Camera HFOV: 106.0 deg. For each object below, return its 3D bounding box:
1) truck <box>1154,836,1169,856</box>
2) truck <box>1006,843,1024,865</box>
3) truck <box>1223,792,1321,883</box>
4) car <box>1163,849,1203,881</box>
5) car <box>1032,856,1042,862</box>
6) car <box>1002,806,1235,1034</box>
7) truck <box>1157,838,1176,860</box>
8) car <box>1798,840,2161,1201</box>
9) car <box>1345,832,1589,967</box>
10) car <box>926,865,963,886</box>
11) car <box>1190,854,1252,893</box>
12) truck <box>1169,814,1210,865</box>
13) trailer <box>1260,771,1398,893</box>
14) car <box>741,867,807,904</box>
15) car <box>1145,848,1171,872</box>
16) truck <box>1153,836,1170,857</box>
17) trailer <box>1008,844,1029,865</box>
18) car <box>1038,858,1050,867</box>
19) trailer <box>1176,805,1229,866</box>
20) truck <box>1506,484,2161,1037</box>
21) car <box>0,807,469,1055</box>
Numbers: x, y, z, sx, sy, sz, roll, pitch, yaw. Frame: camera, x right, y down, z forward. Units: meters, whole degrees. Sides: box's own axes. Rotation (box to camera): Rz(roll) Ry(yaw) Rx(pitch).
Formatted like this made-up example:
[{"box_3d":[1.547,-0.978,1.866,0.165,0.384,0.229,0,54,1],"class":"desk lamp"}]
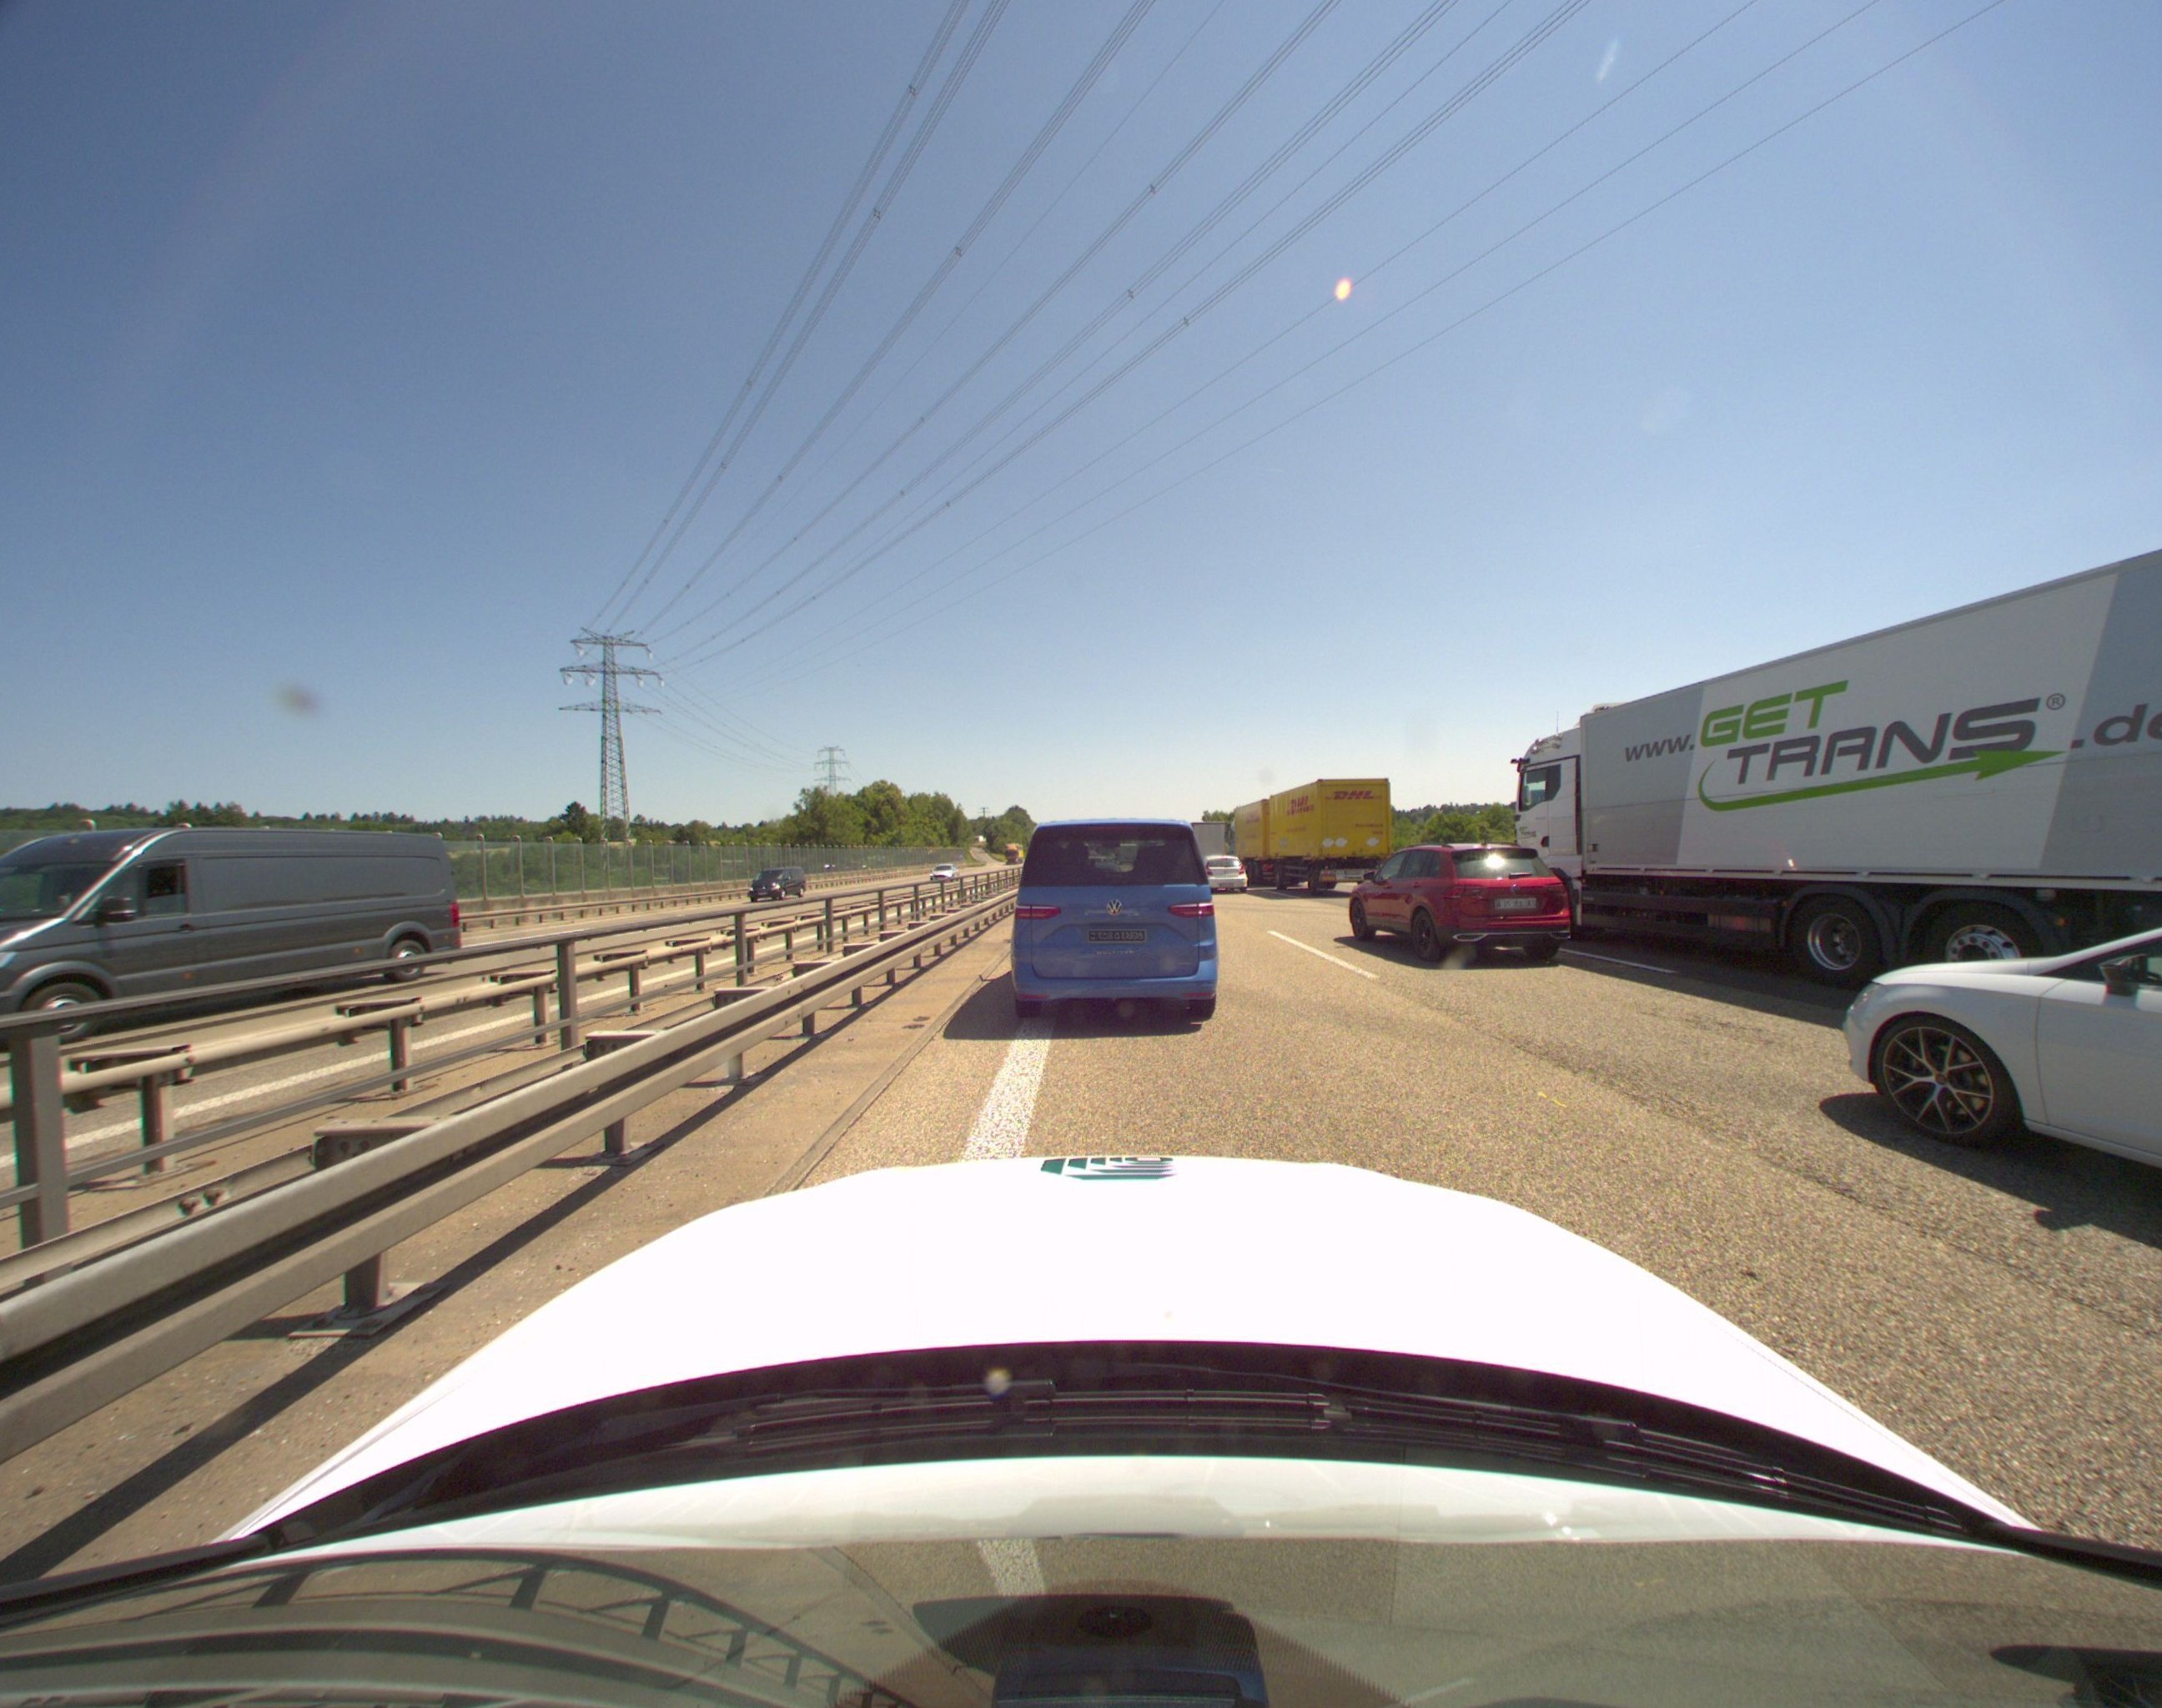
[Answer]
[{"box_3d":[10.749,-1.031,108.965,1.790,2.596,4.306,0,-1,1],"class":"truck"},{"box_3d":[-13.434,0.042,165.341,2.660,4.185,6.292,-2,-1,3],"class":"truck"},{"box_3d":[9.441,-0.709,41.621,2.690,4.088,9.938,0,-1,0],"class":"truck"},{"box_3d":[5.690,0.614,45.703,1.808,1.679,3.933,0,-1,1],"class":"car"},{"box_3d":[-10.609,1.303,196.208,1.681,1.303,4.017,-4,-1,4],"class":"car"},{"box_3d":[0.354,0.567,8.769,1.924,1.874,4.001,0,-1,1],"class":"car"},{"box_3d":[9.916,-0.560,94.932,1.791,2.449,4.505,0,-1,1],"class":"truck"},{"box_3d":[5.185,0.664,2.737,1.702,1.451,4.429,0,0,1],"class":"car"},{"box_3d":[5.565,0.598,12.414,1.702,1.679,4.284,-1,-1,0],"class":"car"},{"box_3d":[-10.943,1.702,65.542,1.986,1.544,4.387,-3,-1,2],"class":"car"},{"box_3d":[5.577,0.762,32.970,1.809,1.470,3.930,0,-1,-1],"class":"car"},{"box_3d":[10.218,-1.246,77.184,3.015,4.611,7.923,0,-1,2],"class":"truck"},{"box_3d":[9.359,-0.705,32.018,2.674,4.088,8.978,0,-1,0],"class":"trailer"},{"box_3d":[-17.914,1.779,47.793,1.951,1.905,4.949,-3,-1,0],"class":"car"},{"box_3d":[6.510,0.492,69.039,1.955,1.936,3.933,0,-1,1],"class":"car"},{"box_3d":[10.225,-0.891,103.667,1.735,2.549,4.211,0,-1,1],"class":"truck"},{"box_3d":[-13.087,0.120,171.771,2.617,4.114,14.026,-2,-1,3],"class":"trailer"},{"box_3d":[-6.500,1.443,144.649,1.755,1.508,4.225,-3,0,2],"class":"car"},{"box_3d":[9.935,-1.367,67.758,3.015,4.611,10.928,0,-1,2],"class":"trailer"},{"box_3d":[9.183,-0.634,9.682,2.842,3.934,10.610,0,-1,1],"class":"truck"},{"box_3d":[-12.255,0.896,11.544,1.987,2.582,6.649,-4,-1,0],"class":"car"}]
